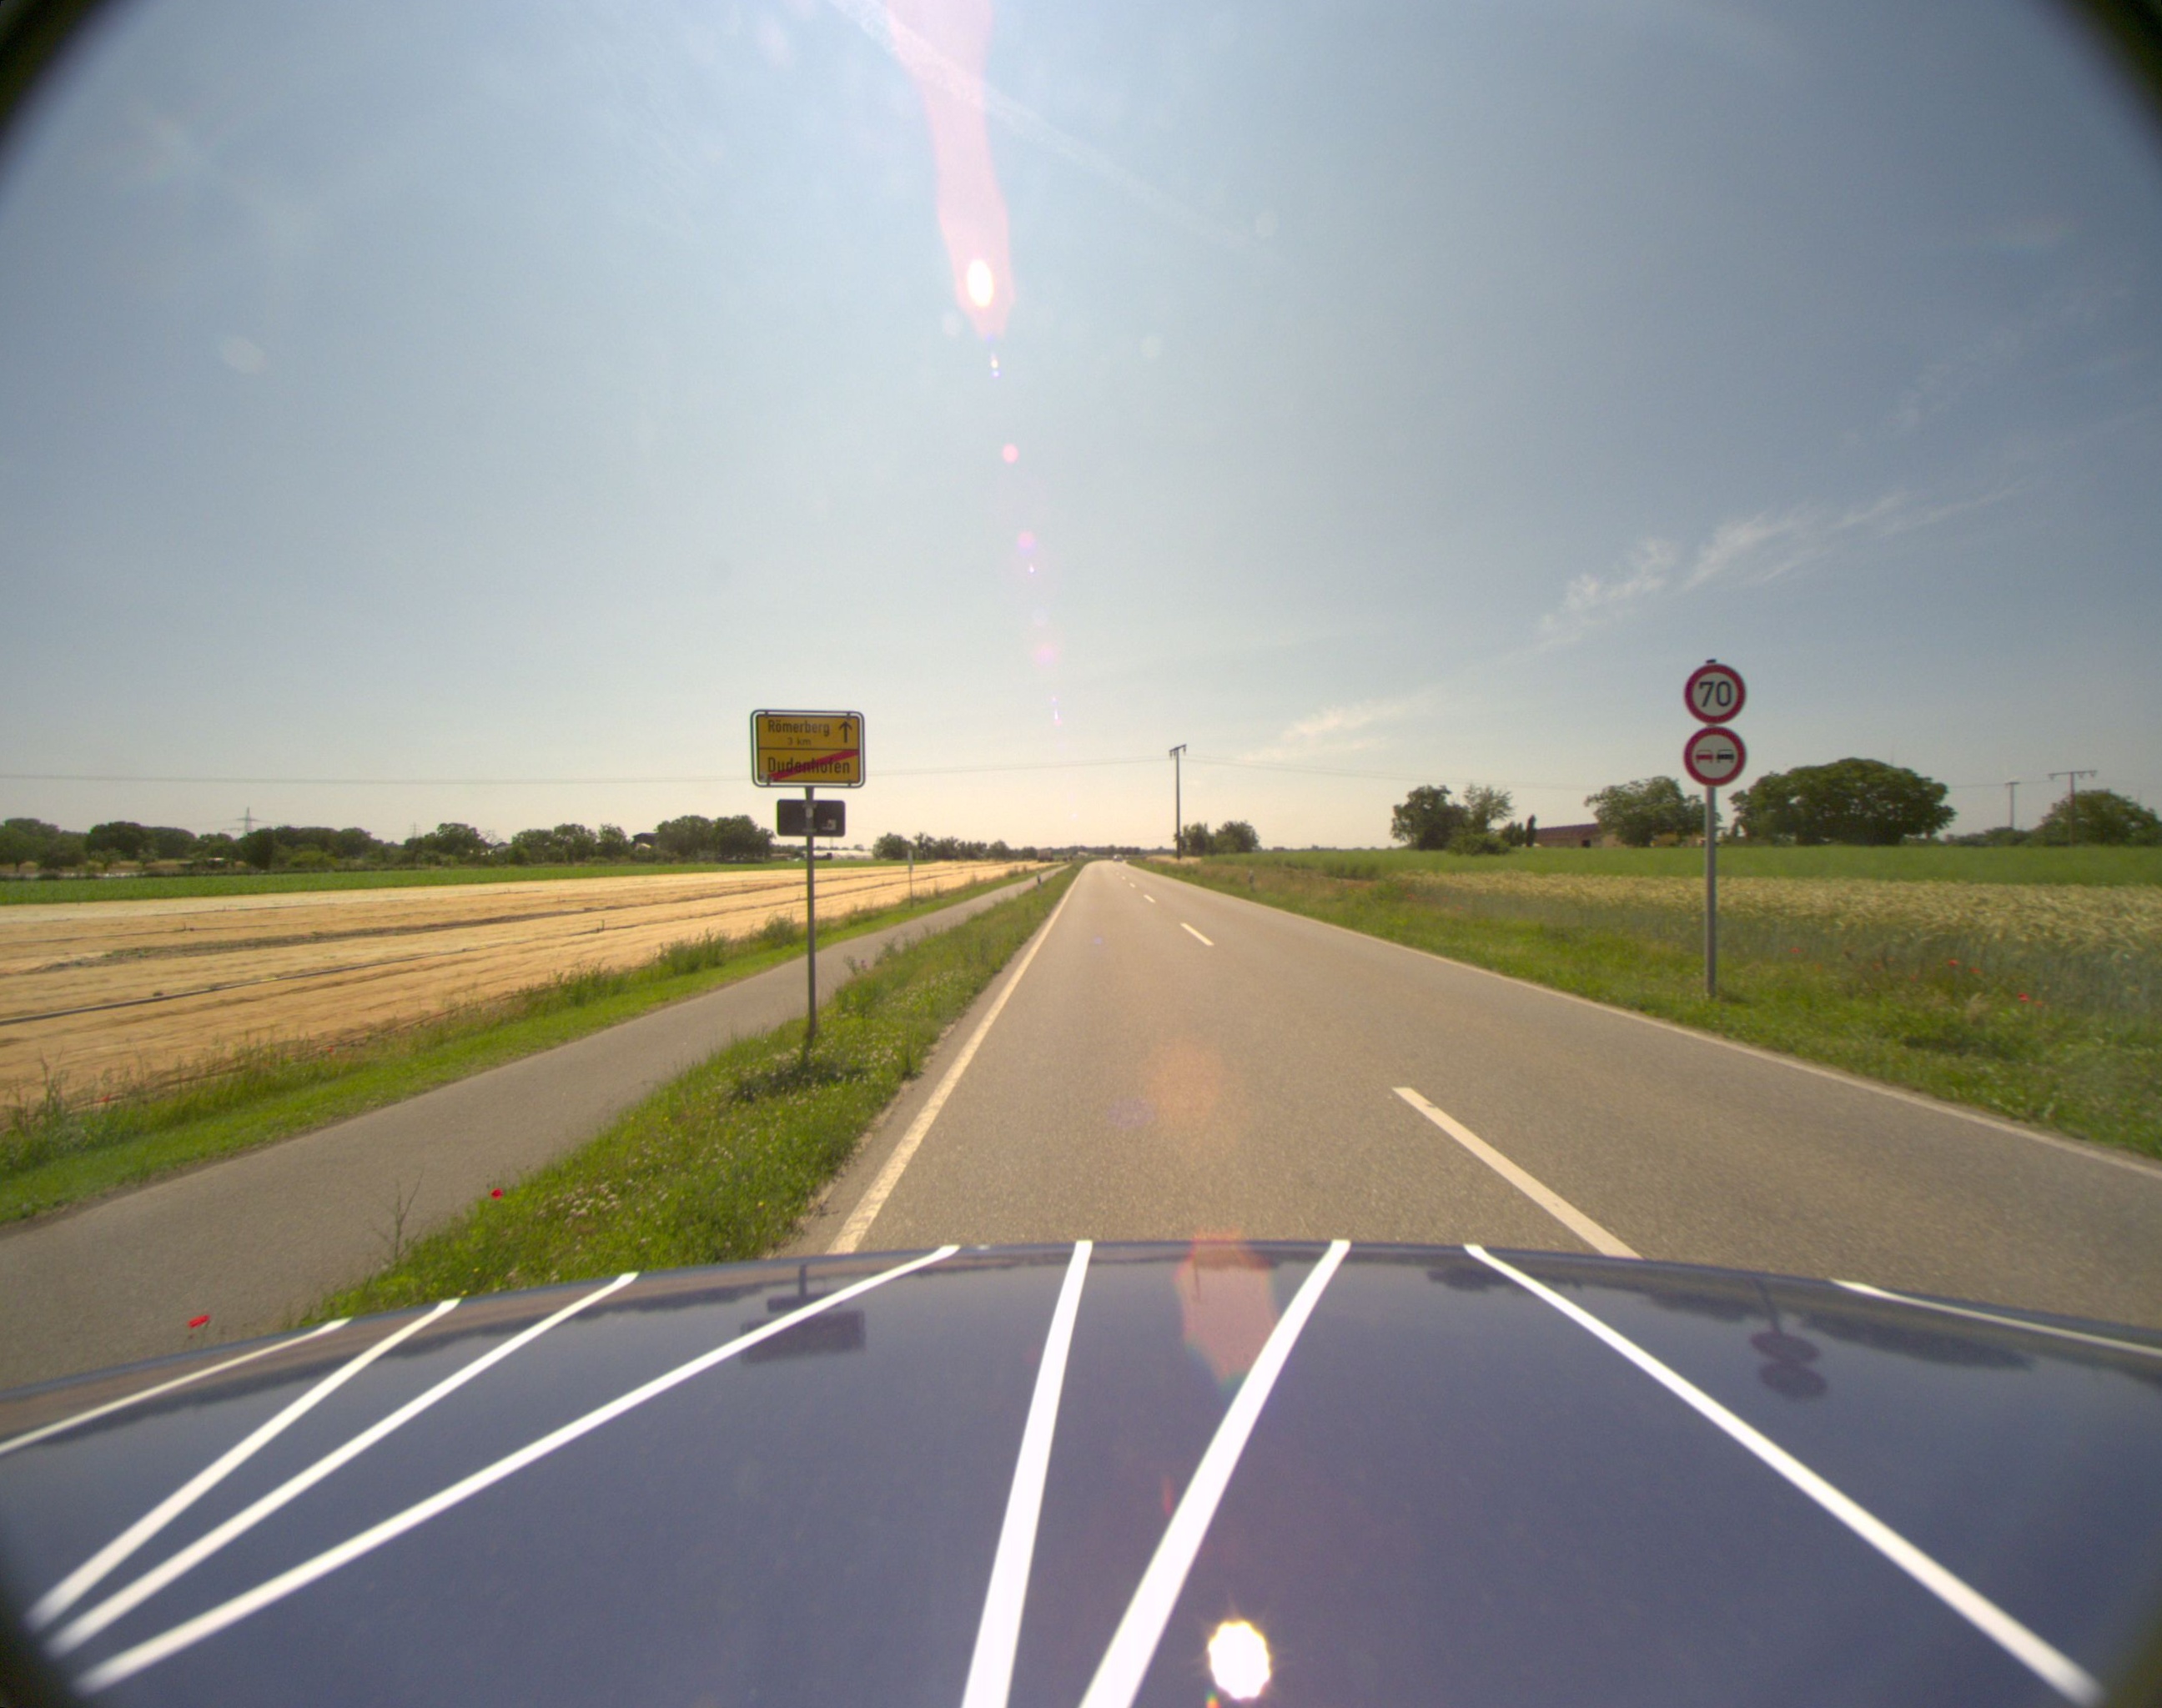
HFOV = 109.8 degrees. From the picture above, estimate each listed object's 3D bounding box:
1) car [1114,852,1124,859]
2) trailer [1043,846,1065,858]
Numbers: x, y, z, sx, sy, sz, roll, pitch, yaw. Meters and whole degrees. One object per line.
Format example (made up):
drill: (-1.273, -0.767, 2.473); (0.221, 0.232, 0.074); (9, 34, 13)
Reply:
car: (7.862, 0.299, 157.458); (1.796, 1.401, 4.185); (0, 1, 1)
trailer: (-6.723, -0.528, 189.496); (5.283, 2.936, 2.002); (1, 3, 21)
